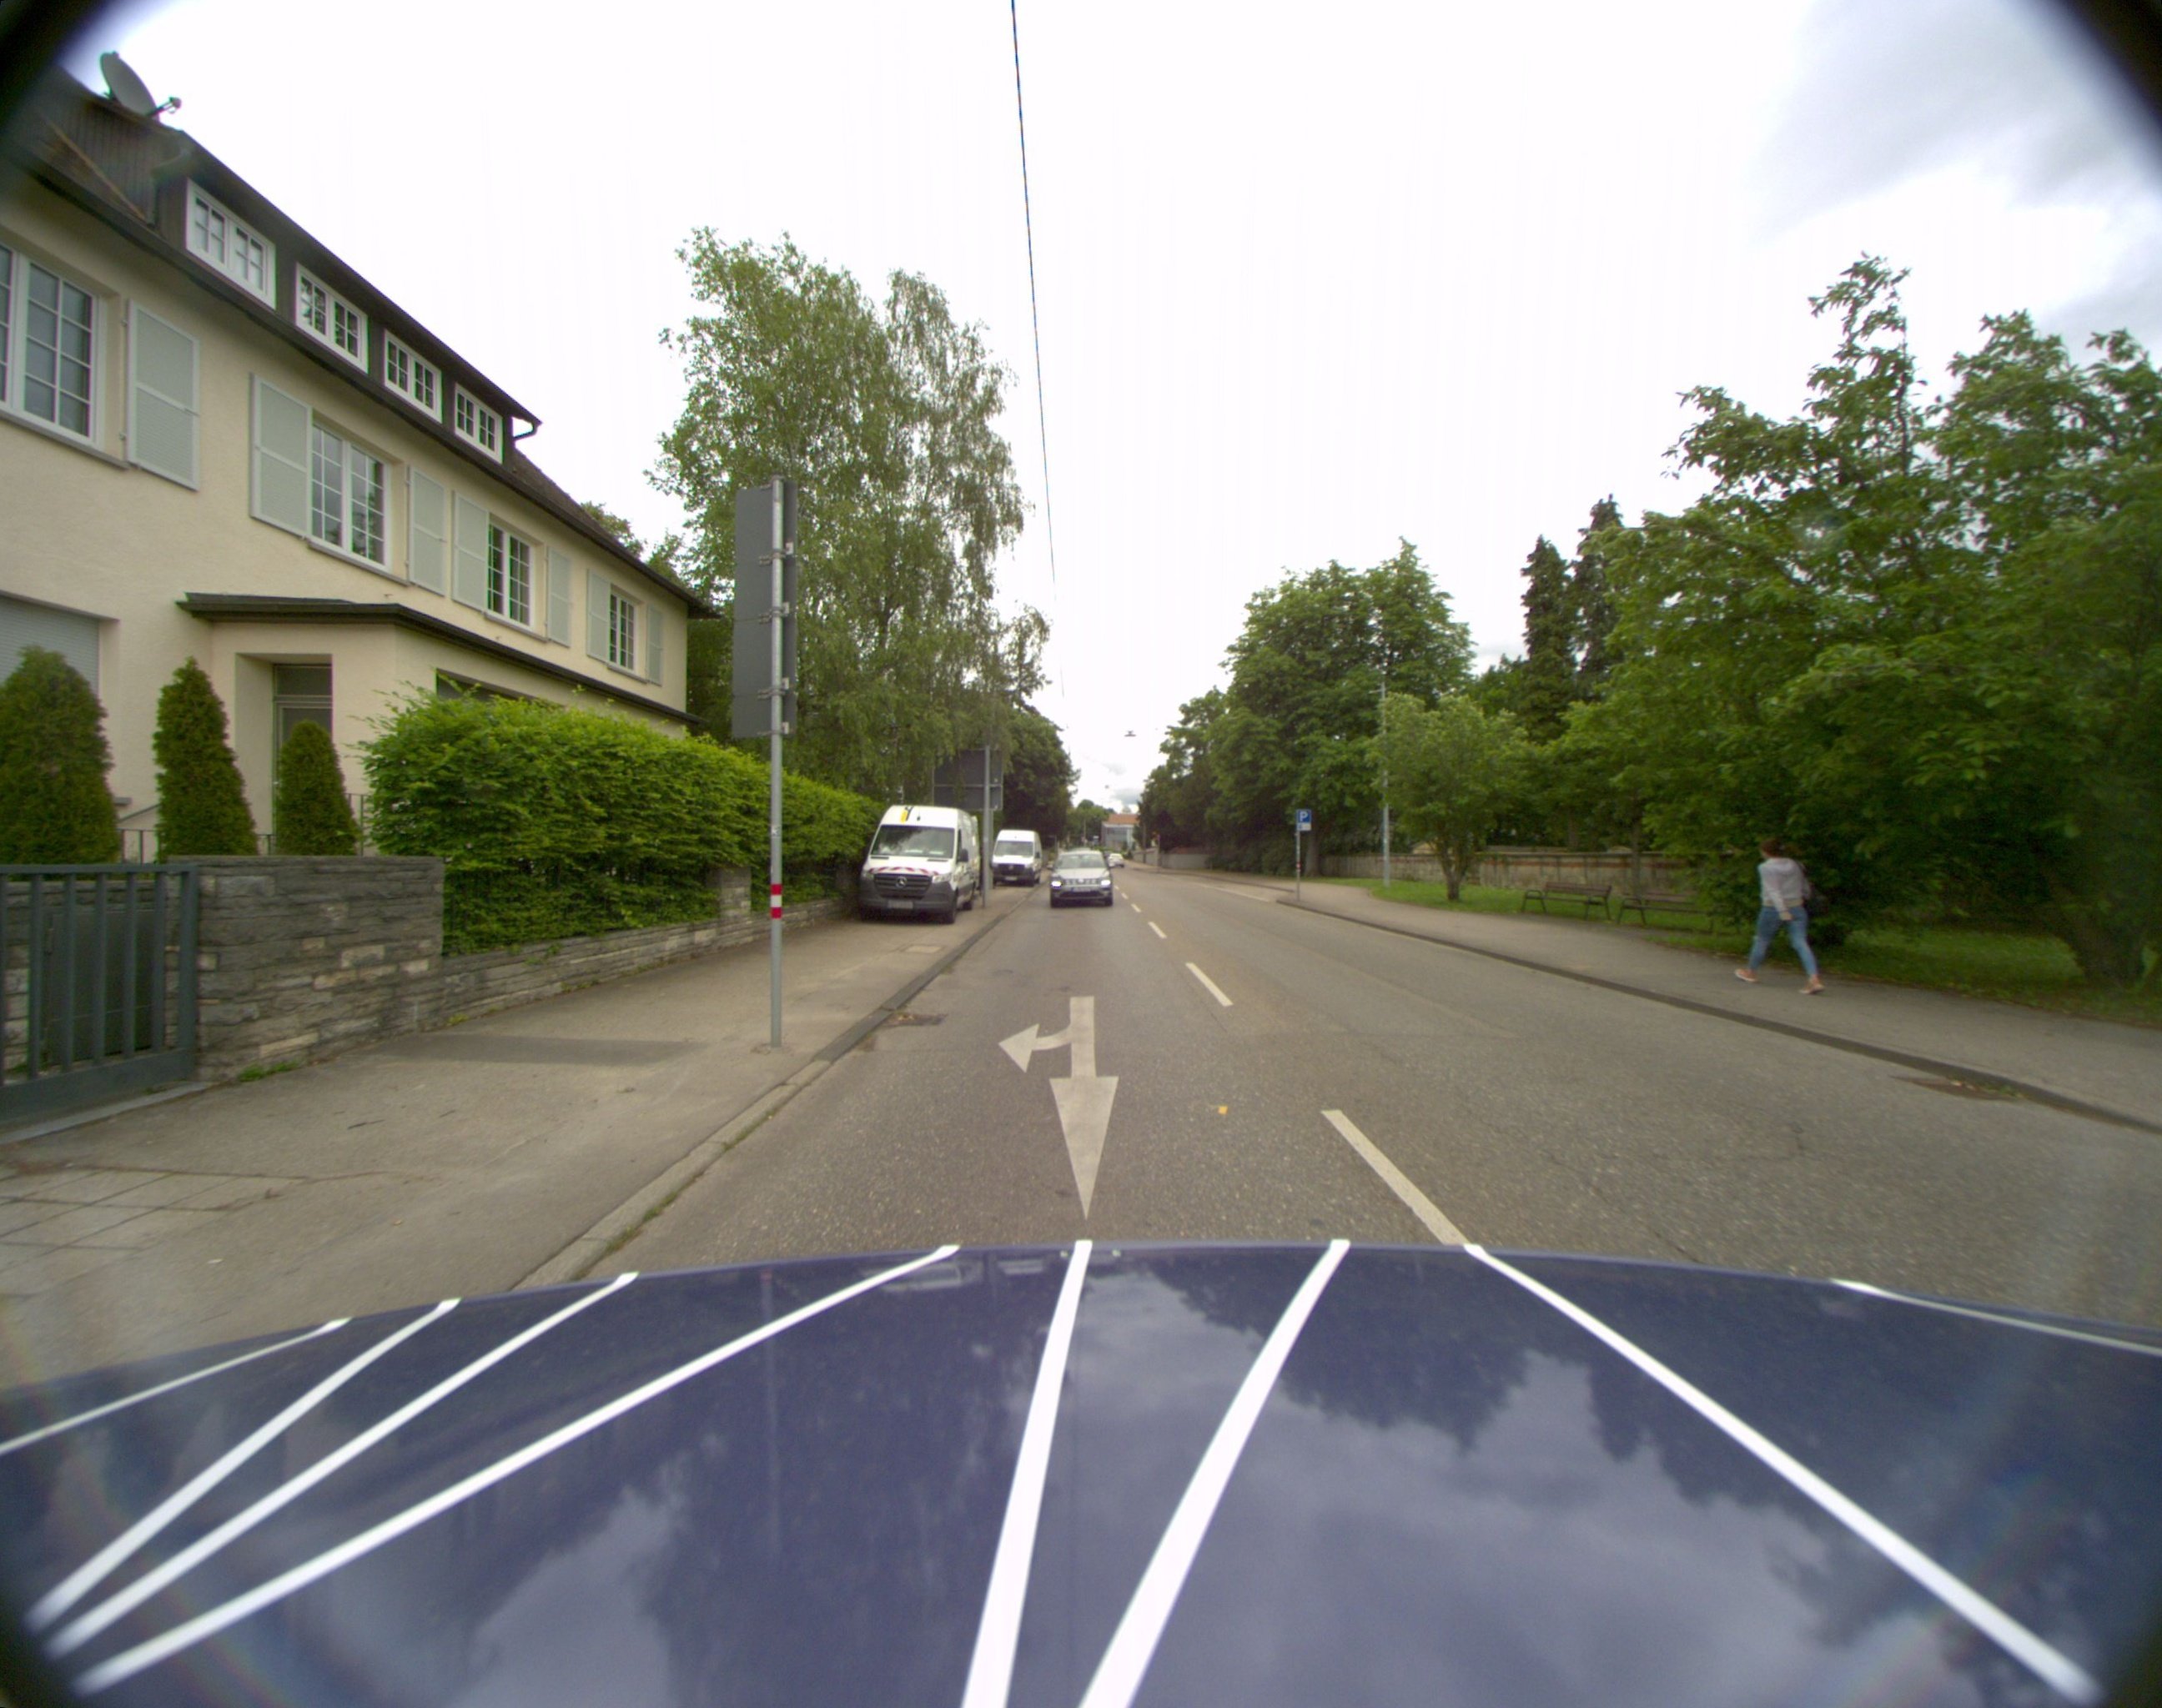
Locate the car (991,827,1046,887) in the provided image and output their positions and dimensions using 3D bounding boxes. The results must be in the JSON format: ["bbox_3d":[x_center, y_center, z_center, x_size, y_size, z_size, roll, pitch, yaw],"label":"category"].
[{"bbox_3d":[-2.883,0.121,36.304,2.046,2.588,5.966,1,1,0],"label":"car"}]

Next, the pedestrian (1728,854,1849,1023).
[{"bbox_3d":[8.023,0.920,8.648,0.615,1.801,0.785,-3,1,0],"label":"pedestrian"}]

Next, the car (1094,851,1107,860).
[{"bbox_3d":[3.259,0.227,128.195,1.913,1.484,3.998,3,1,-2],"label":"car"}]

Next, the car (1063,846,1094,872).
[{"bbox_3d":[-0.209,0.281,51.220,1.835,1.610,4.486,-2,1,-3],"label":"car"}]

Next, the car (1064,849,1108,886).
[{"bbox_3d":[0.174,0.608,37.309,1.835,1.610,4.486,-2,1,-3],"label":"car"}]

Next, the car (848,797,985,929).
[{"bbox_3d":[-3.696,0.158,18.491,2.095,2.589,6.679,1,1,-2],"label":"car"}]

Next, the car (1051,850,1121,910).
[{"bbox_3d":[0.057,0.708,23.425,1.835,1.610,4.486,-2,1,-3],"label":"car"}]

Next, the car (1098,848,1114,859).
[{"bbox_3d":[3.572,-0.121,107.358,1.913,1.484,3.998,3,1,-2],"label":"car"}]

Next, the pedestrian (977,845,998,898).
[{"bbox_3d":[-3.215,0.598,26.243,0.640,1.820,0.786,0,1,-2],"label":"pedestrian"}]

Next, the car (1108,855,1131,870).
[{"bbox_3d":[4.058,0.875,80.684,1.913,1.484,3.998,3,1,-2],"label":"car"}]
